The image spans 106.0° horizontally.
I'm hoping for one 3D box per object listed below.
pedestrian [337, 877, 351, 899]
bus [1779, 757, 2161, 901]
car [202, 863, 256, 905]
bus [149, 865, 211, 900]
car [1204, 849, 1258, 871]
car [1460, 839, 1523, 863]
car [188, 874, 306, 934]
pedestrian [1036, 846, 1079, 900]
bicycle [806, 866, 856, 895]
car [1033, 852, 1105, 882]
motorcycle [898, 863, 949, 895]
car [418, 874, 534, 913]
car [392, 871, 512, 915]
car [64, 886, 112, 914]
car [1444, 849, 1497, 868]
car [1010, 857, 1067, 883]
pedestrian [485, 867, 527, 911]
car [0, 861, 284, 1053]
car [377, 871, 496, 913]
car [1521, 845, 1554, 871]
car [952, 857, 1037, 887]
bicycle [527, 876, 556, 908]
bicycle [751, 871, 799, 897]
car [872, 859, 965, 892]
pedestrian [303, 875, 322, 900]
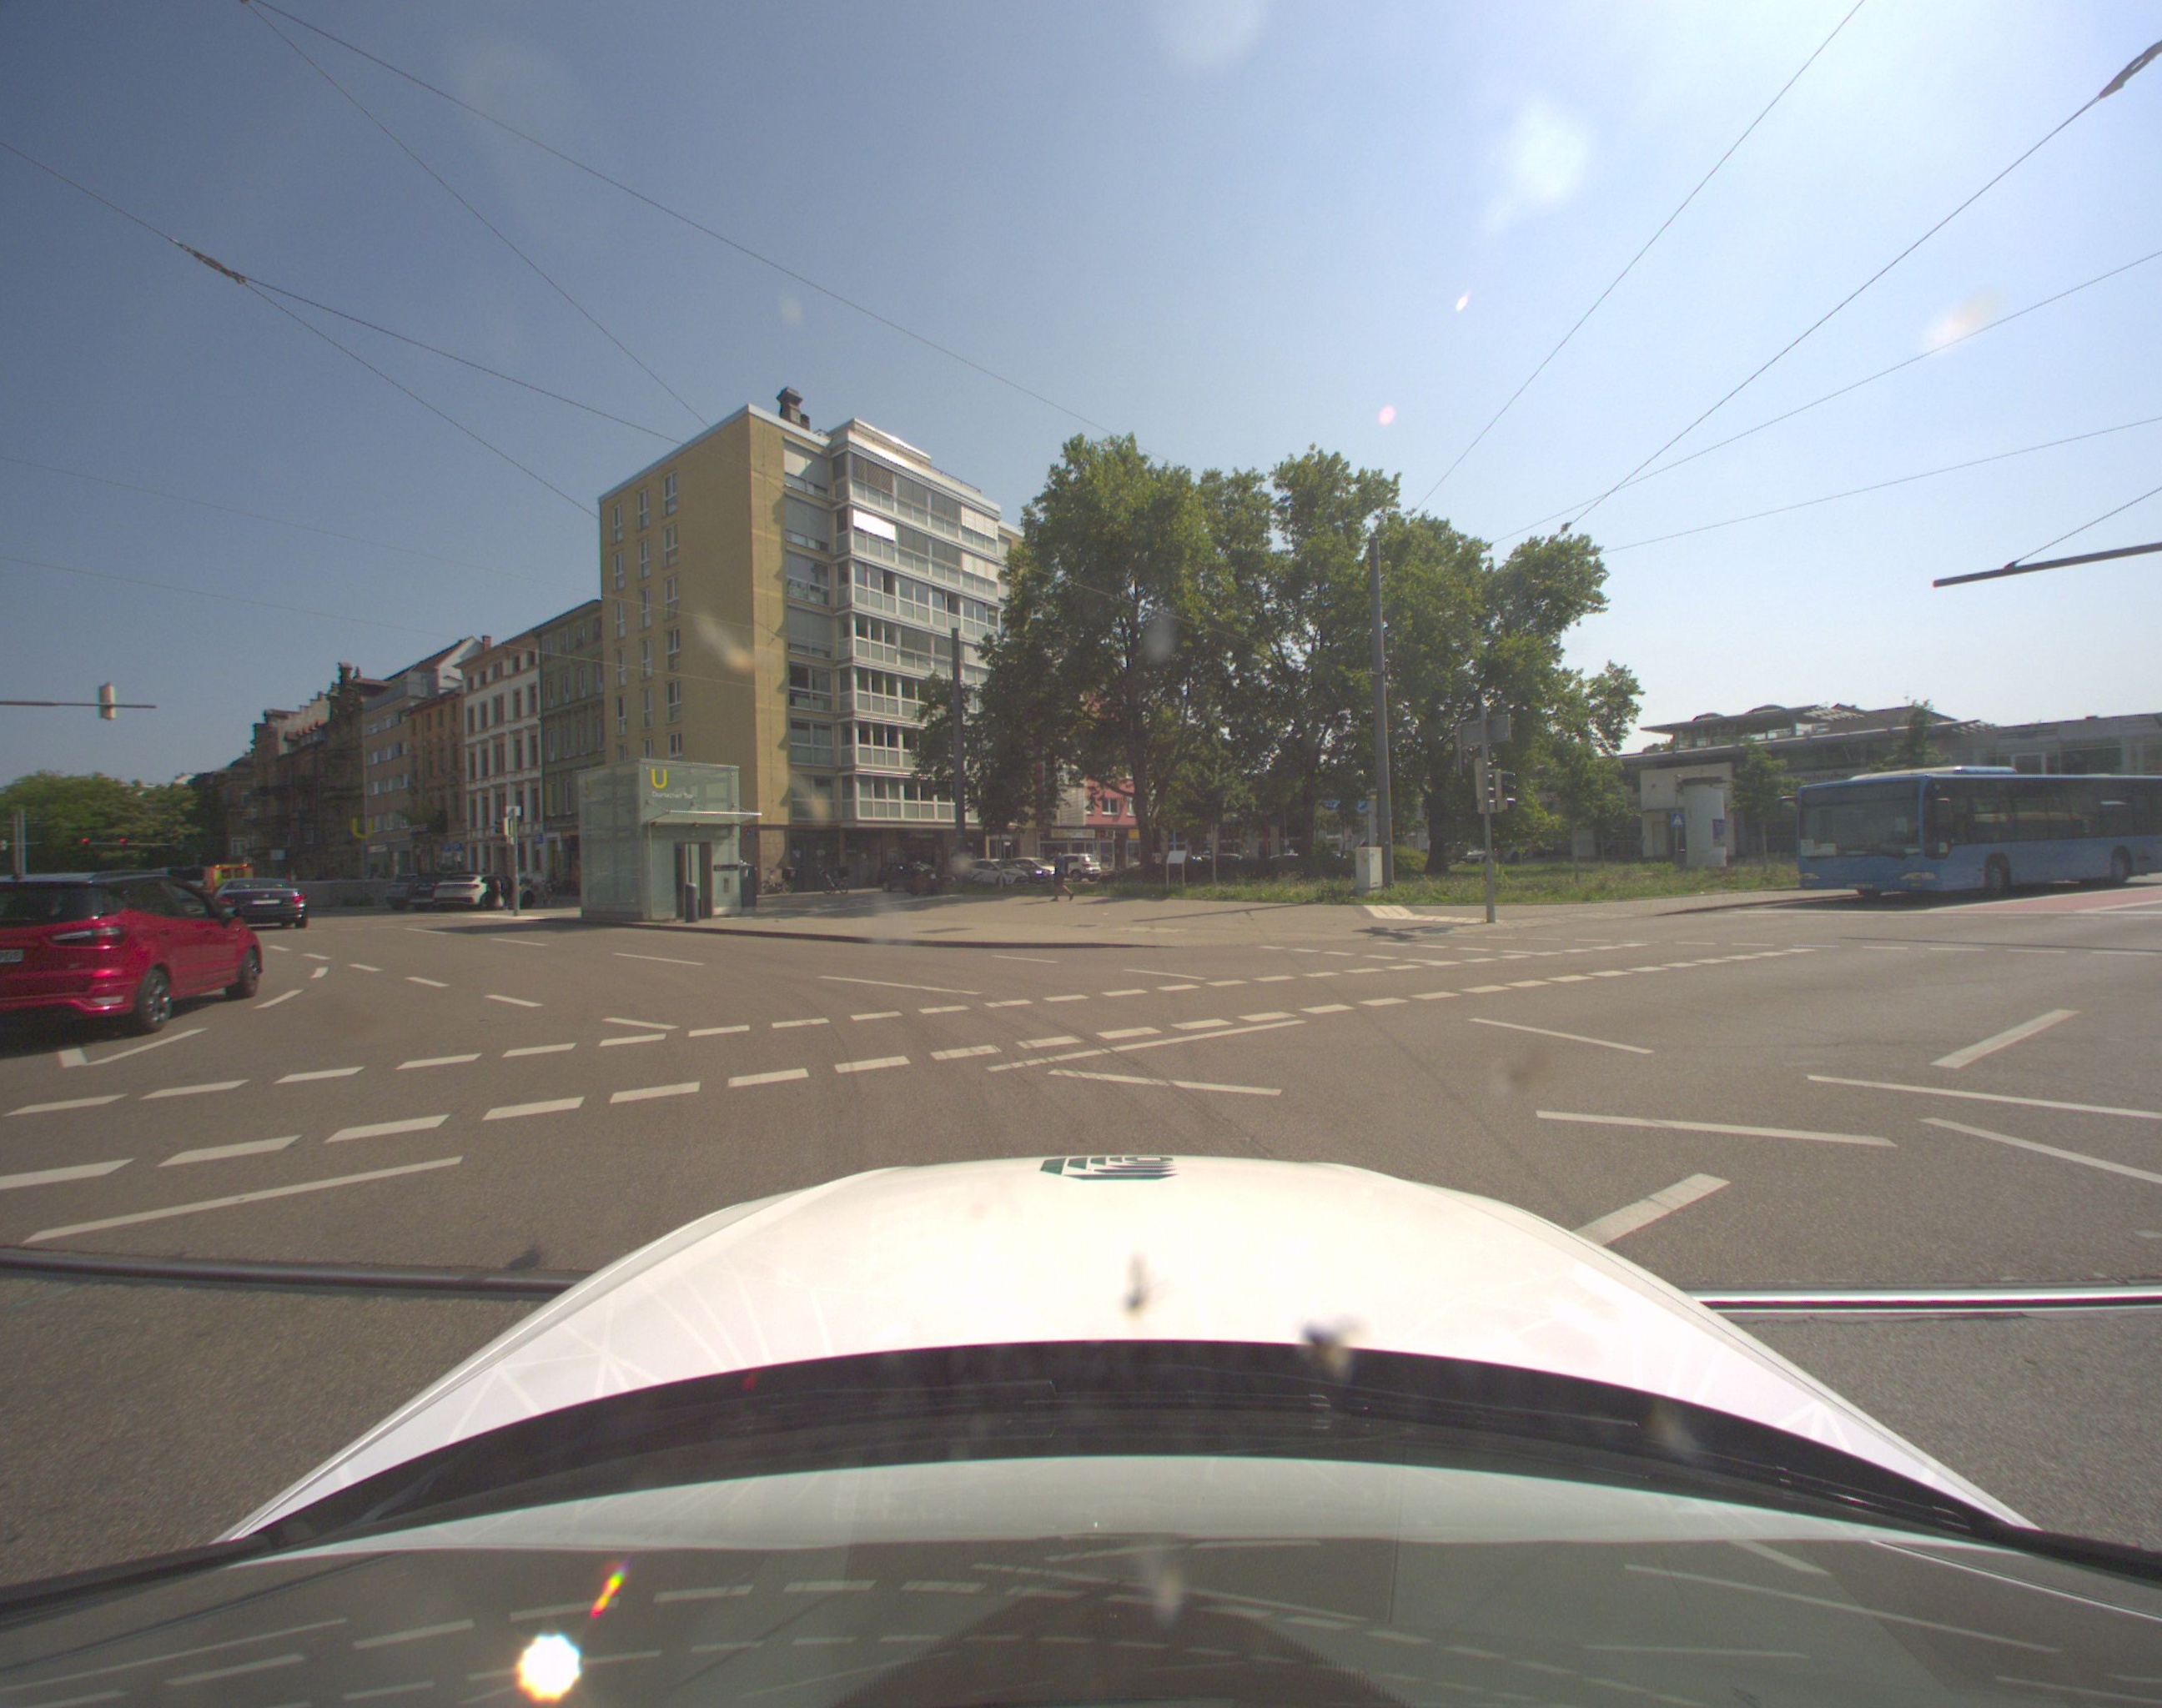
[{"bbox_3d":[-56.796,2.630,62.797,0.595,1.667,0.703,-3,-2,38],"label":"pedestrian"},{"bbox_3d":[23.266,-0.643,20.794,12.084,3.064,2.715,-1,-1,-20],"label":"bus"},{"bbox_3d":[-63.429,2.215,60.593,5.527,2.888,2.321,-2,0,40],"label":"car"},{"bbox_3d":[-83.166,2.680,75.056,12.273,3.032,2.558,-2,-1,36],"label":"bus"},{"bbox_3d":[12.470,0.486,67.898,4.021,1.666,1.802,-2,-1,34],"label":"car"},{"bbox_3d":[32.901,-0.226,65.360,4.238,1.753,1.714,-2,0,-4],"label":"car"},{"bbox_3d":[-22.840,1.323,22.276,3.948,1.431,1.807,-2,-1,38],"label":"car"},{"bbox_3d":[-0.713,0.584,24.857,0.937,1.609,0.798,-3,-1,33],"label":"pedestrian"},{"bbox_3d":[-11.211,1.199,36.497,2.403,1.238,0.800,-2,-1,36],"label":"bicycle"},{"bbox_3d":[-0.719,0.803,49.570,4.021,1.666,1.802,-2,-1,34],"label":"car"},{"bbox_3d":[-5.883,0.931,30.309,0.917,1.137,2.087,-1,-1,-41],"label":"motorcycle"},{"bbox_3d":[-24.464,1.598,33.107,1.795,1.500,3.785,0,-2,1],"label":"car"},{"bbox_3d":[-26.962,1.617,35.129,1.977,1.687,4.385,-1,0,-5],"label":"car"},{"bbox_3d":[-68.834,3.213,56.415,3.948,1.780,1.807,-3,-2,35],"label":"car"},{"bbox_3d":[33.300,0.361,69.599,4.005,1.508,1.984,-2,0,-24],"label":"car"},{"bbox_3d":[-2.485,0.946,47.546,3.058,1.429,1.412,-2,-1,34],"label":"car"},{"bbox_3d":[-23.016,1.405,32.613,0.896,1.704,1.041,-1,-2,10],"label":"pedestrian"},{"bbox_3d":[-10.420,0.918,8.692,1.774,1.618,4.042,-2,1,-31],"label":"car"},{"bbox_3d":[-29.654,1.684,37.679,2.034,1.714,4.657,-1,0,-5],"label":"car"},{"bbox_3d":[38.571,0.287,68.737,2.304,2.013,6.851,0,1,30],"label":"car"},{"bbox_3d":[-4.614,0.957,43.198,4.191,1.470,1.918,-2,-1,34],"label":"car"},{"bbox_3d":[-23.309,1.649,35.160,1.768,1.296,0.477,-4,-1,38],"label":"bicycle"},{"bbox_3d":[-14.248,1.377,37.964,1.980,1.143,0.590,-1,-1,-39],"label":"bicycle"},{"bbox_3d":[-7.783,1.023,38.999,4.191,1.470,1.918,-2,-1,34],"label":"car"},{"bbox_3d":[-54.941,2.387,58.218,0.959,1.729,0.858,0,2,43],"label":"pedestrian"}]
